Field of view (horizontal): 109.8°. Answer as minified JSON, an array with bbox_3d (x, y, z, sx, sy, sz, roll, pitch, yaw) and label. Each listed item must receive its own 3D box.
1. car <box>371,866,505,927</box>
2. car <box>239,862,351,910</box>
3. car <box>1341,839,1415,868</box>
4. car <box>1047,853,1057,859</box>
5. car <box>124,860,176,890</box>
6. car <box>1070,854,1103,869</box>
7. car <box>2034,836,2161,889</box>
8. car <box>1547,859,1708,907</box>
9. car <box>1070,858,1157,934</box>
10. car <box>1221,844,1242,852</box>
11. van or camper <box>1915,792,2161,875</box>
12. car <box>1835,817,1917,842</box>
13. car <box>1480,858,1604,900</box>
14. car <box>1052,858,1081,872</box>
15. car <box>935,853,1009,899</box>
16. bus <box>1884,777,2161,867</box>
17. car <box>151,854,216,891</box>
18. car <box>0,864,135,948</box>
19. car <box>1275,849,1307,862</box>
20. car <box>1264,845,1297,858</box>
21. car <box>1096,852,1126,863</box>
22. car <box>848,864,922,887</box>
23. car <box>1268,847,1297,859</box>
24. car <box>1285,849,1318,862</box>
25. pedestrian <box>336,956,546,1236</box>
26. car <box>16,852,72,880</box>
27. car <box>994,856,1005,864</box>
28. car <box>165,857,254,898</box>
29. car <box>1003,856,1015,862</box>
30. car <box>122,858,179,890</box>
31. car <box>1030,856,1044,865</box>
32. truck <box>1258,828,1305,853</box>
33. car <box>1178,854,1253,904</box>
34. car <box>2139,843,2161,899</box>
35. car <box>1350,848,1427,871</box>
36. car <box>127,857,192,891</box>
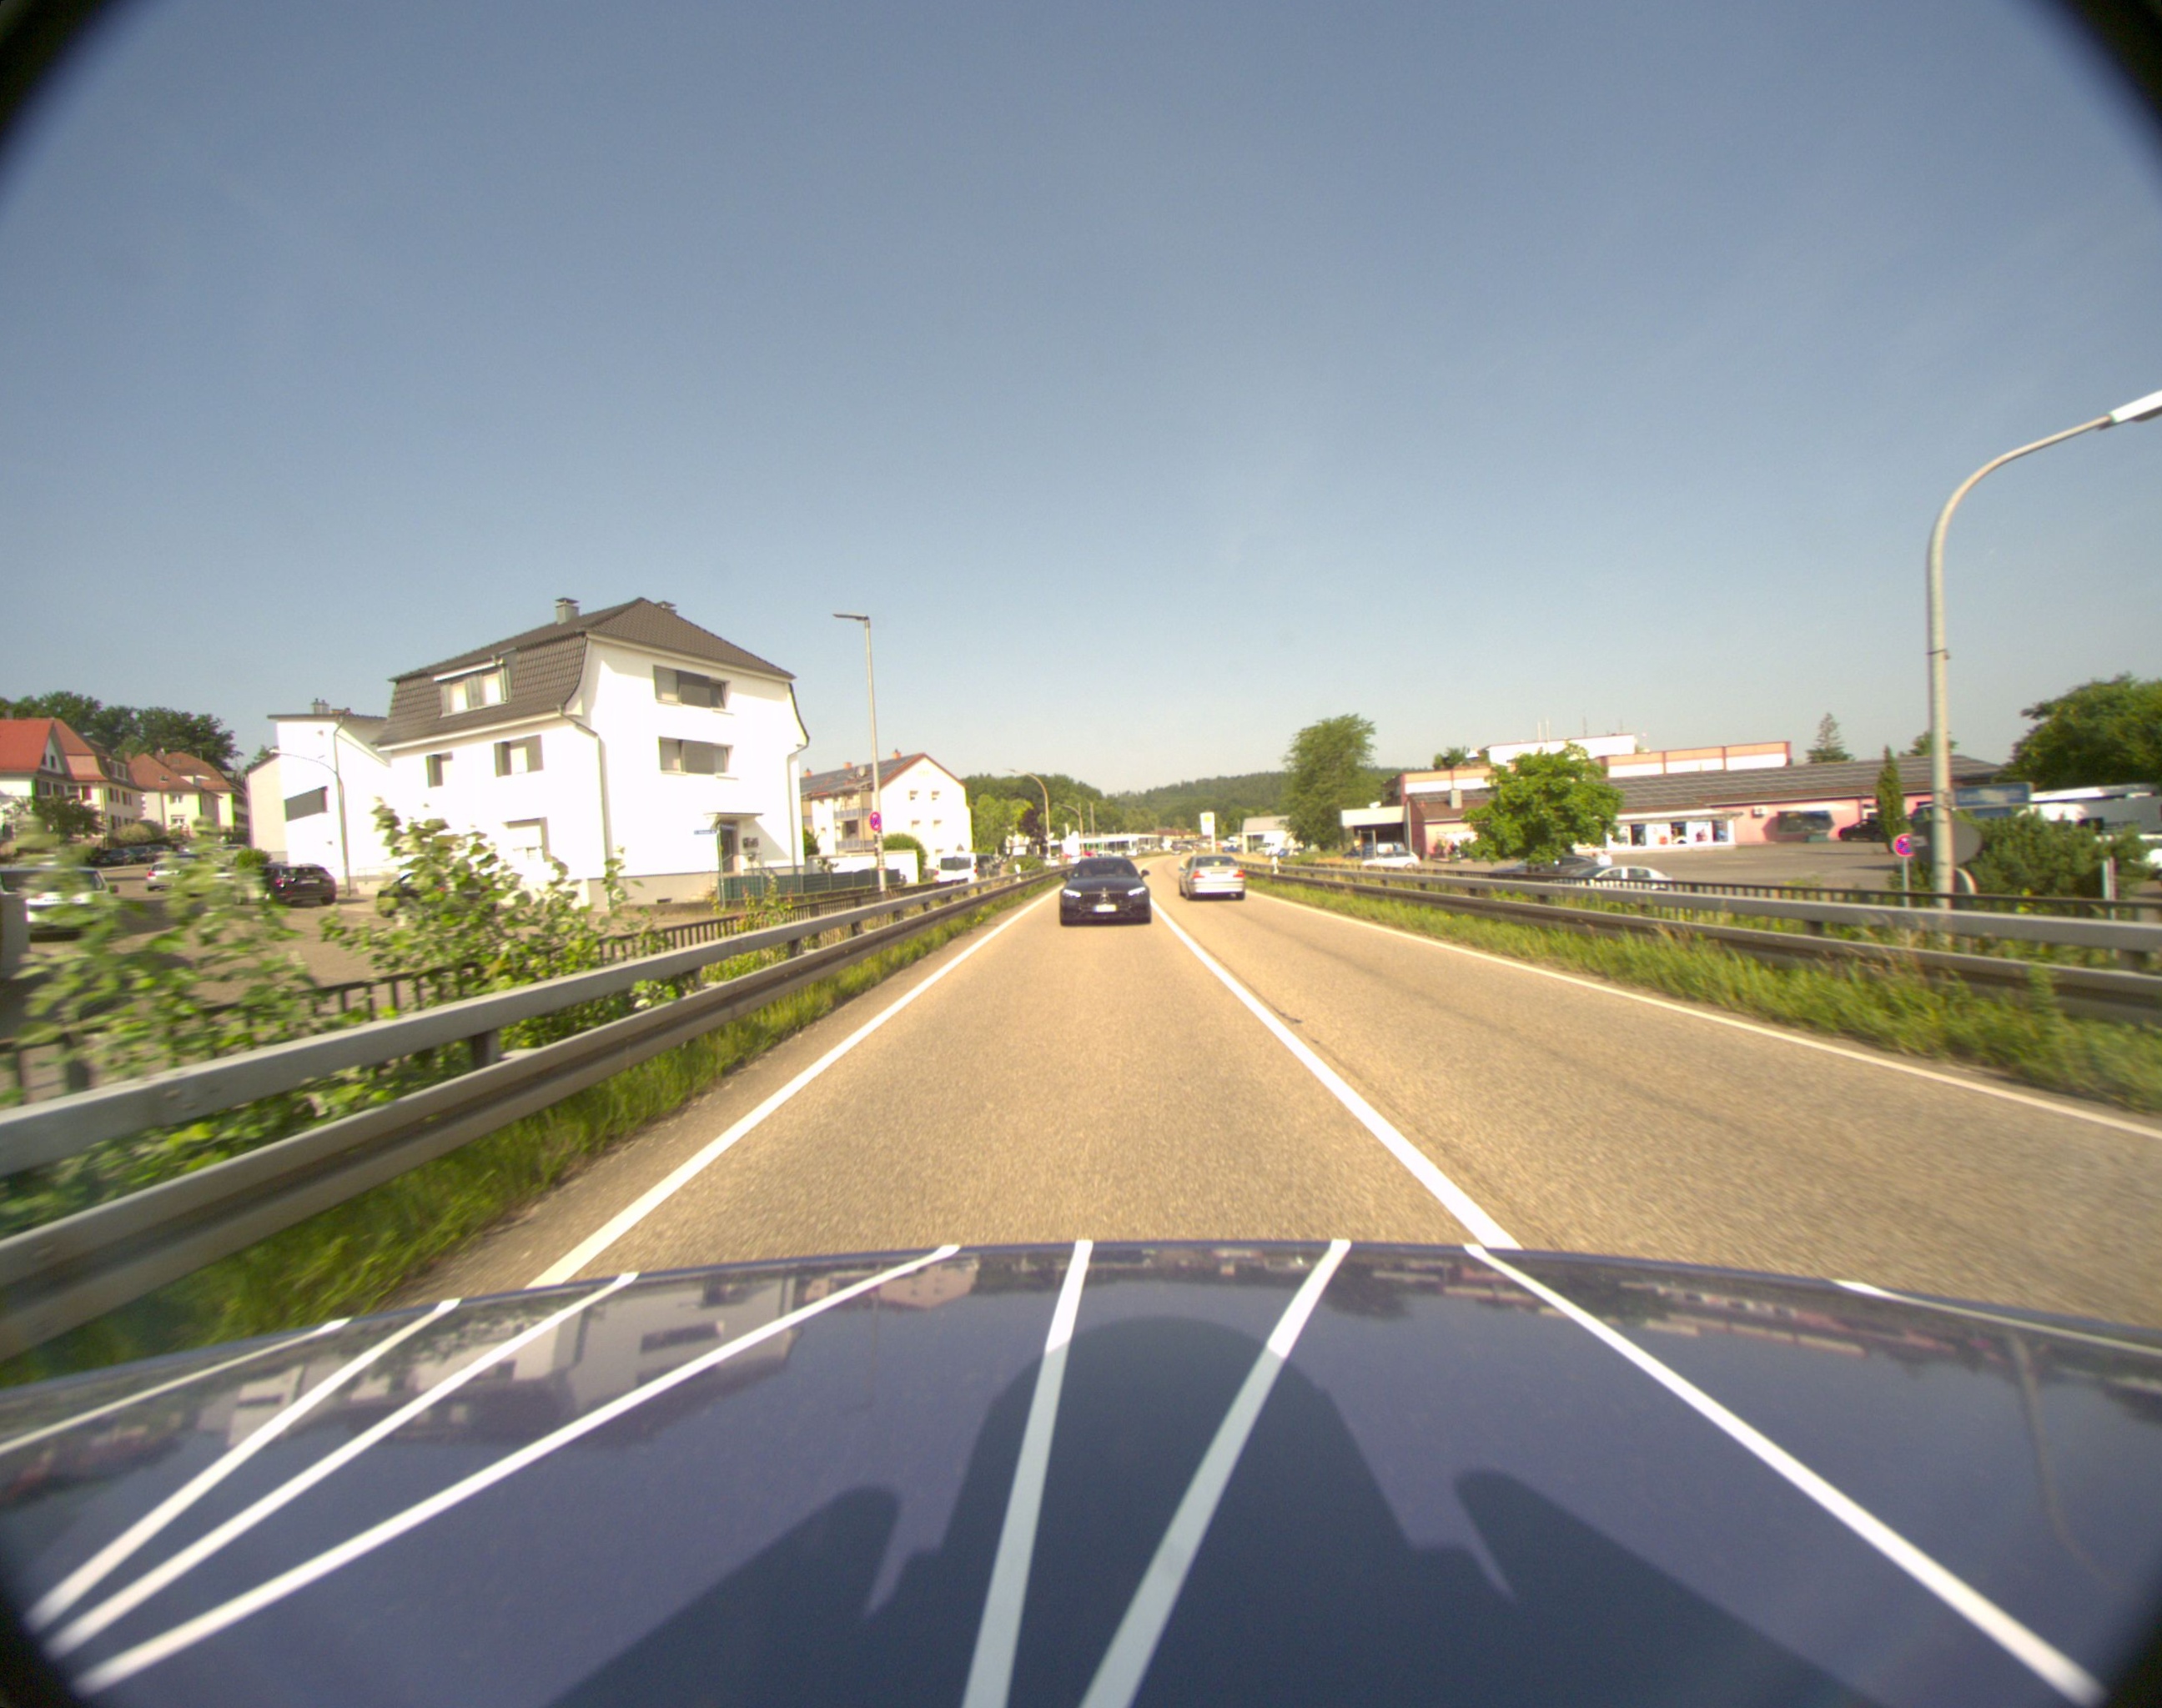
[{"bbox_3d":[-21.506,1.348,25.405,3.989,1.655,2.002,1,5,29],"label":"car"},{"bbox_3d":[-30.559,1.187,29.531,3.989,1.654,2.003,1,2,29],"label":"car"},{"bbox_3d":[22.731,-0.010,58.221,4.892,2.002,2.004,-2,0,37],"label":"car"},{"bbox_3d":[-8.041,0.586,209.188,2.001,1.537,4.612,-1,1,8],"label":"car"},{"bbox_3d":[-57.864,1.244,47.217,3.988,1.654,1.964,1,2,38],"label":"car"},{"bbox_3d":[0.694,0.976,95.015,3.997,1.441,1.764,-6,1,-1],"label":"car"},{"bbox_3d":[36.951,0.258,26.427,4.565,1.624,1.863,-3,0,13],"label":"car"},{"bbox_3d":[19.472,1.027,27.246,4.308,1.496,1.875,-2,0,6],"label":"car"},{"bbox_3d":[0.672,0.852,17.345,1.716,1.382,4.146,-1,1,1],"label":"car"},{"bbox_3d":[34.749,-1.394,175.494,4.237,1.498,1.981,-2,0,-24],"label":"car"},{"bbox_3d":[39.392,-0.824,30.657,7.406,2.826,2.749,-3,1,13],"label":"van or camper"},{"bbox_3d":[56.136,-1.675,53.770,1.740,1.598,4.635,-2,0,14],"label":"car"},{"bbox_3d":[20.302,1.088,33.595,4.309,1.656,1.874,-2,0,3],"label":"car"},{"bbox_3d":[-1.679,1.313,89.653,3.272,1.368,1.548,-5,2,-3],"label":"car"},{"bbox_3d":[-4.931,0.935,35.257,1.997,1.933,5.364,-2,0,7],"label":"car"},{"bbox_3d":[42.312,-1.327,33.688,9.114,3.334,2.668,-3,-1,13],"label":"bus"},{"bbox_3d":[-45.103,0.885,38.164,3.988,1.654,1.964,1,2,38],"label":"car"},{"bbox_3d":[-28.644,1.352,21.131,4.826,1.973,1.963,1,2,28],"label":"car"},{"bbox_3d":[27.574,0.214,99.707,3.754,1.491,1.933,-3,1,9],"label":"car"},{"bbox_3d":[29.204,-0.305,111.120,4.359,1.645,1.933,-3,1,7],"label":"car"},{"bbox_3d":[4.874,0.526,124.262,4.323,1.630,2.143,-2,1,21],"label":"car"},{"bbox_3d":[-12.120,1.294,46.830,4.598,1.340,1.758,-1,0,33],"label":"car"},{"bbox_3d":[28.749,-0.160,108.362,3.755,1.491,1.933,-3,1,7],"label":"car"},{"bbox_3d":[27.116,0.134,93.562,3.754,1.452,1.862,-2,1,9],"label":"car"},{"bbox_3d":[-5.258,1.930,6.320,0.789,2.002,0.997,-2,1,5],"label":"pedestrian"},{"bbox_3d":[-67.764,0.745,49.714,3.988,1.654,1.964,1,2,38],"label":"car"},{"bbox_3d":[-16.633,1.195,154.643,1.787,1.466,3.984,-2,1,-11],"label":"car"},{"bbox_3d":[-39.828,1.024,34.711,3.988,1.654,1.963,1,2,31],"label":"car"},{"bbox_3d":[-14.129,0.993,149.251,1.595,1.179,3.657,-2,1,-15],"label":"car"},{"bbox_3d":[-54.179,1.149,44.244,3.988,1.654,1.964,1,2,38],"label":"car"},{"bbox_3d":[-7.145,0.984,122.522,1.656,1.358,3.658,-2,1,-11],"label":"car"},{"bbox_3d":[32.349,-2.196,122.416,8.226,3.536,2.799,-3,0,-37],"label":"truck"},{"bbox_3d":[4.143,0.715,23.892,1.762,1.402,3.989,-1,0,2],"label":"car"},{"bbox_3d":[34.333,0.428,21.803,4.565,1.625,1.862,-3,3,13],"label":"car"},{"bbox_3d":[21.540,0.377,53.297,4.626,1.374,1.743,-2,0,2],"label":"car"},{"bbox_3d":[-49.902,1.033,41.149,3.988,1.654,1.964,1,2,36],"label":"car"}]
